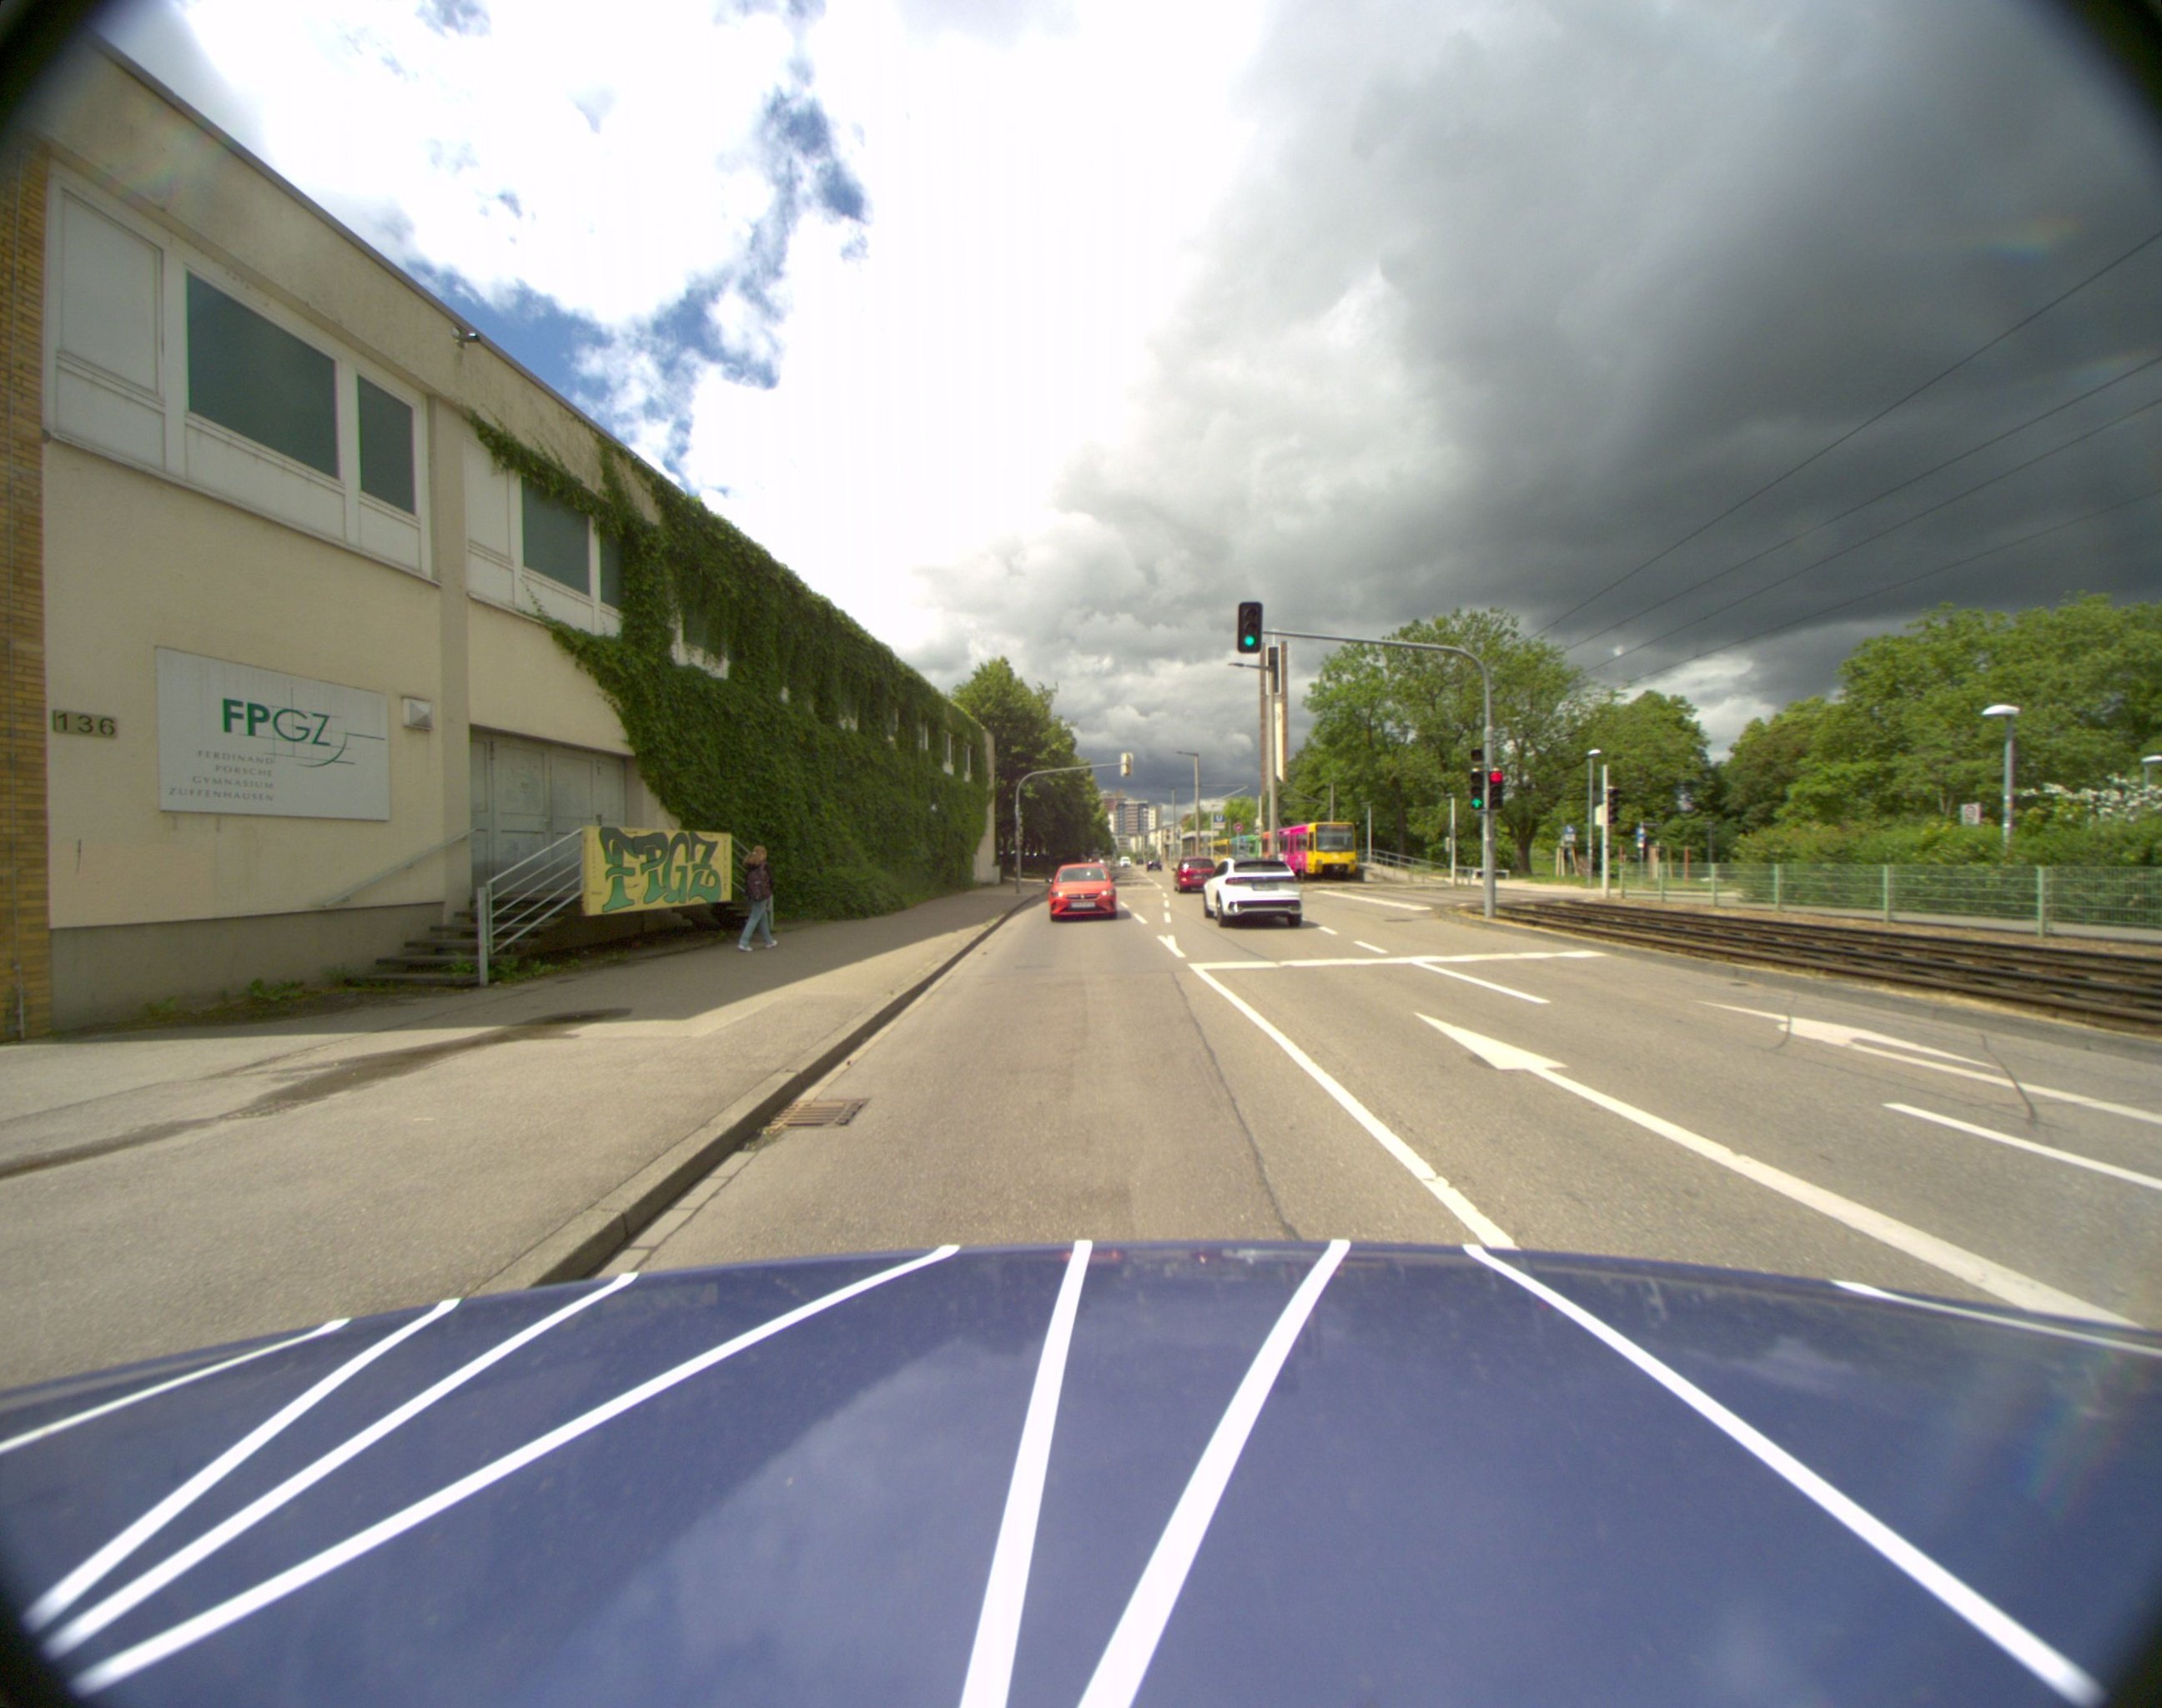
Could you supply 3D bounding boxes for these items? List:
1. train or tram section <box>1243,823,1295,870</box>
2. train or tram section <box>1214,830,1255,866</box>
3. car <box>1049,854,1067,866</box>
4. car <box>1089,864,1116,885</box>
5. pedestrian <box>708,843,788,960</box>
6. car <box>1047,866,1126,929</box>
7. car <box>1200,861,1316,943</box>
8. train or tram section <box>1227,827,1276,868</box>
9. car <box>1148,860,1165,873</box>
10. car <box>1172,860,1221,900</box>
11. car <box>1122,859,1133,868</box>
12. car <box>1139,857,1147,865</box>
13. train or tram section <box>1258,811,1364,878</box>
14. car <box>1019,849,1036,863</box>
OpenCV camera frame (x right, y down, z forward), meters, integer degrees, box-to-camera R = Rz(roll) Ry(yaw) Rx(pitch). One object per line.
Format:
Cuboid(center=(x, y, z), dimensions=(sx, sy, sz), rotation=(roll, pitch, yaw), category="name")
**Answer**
Cuboid(center=(16.677, -0.673, 67.958), dimensions=(2.987, 3.840, 8.380), rotation=(-2, 0, 4), category="train or tram section")
Cuboid(center=(18.046, -0.700, 89.970), dimensions=(2.987, 3.840, 12.203), rotation=(-2, 0, 4), category="train or tram section")
Cuboid(center=(-2.947, 0.762, 97.180), dimensions=(1.655, 1.533, 3.678), rotation=(-1, 1, 9), category="car")
Cuboid(center=(1.666, 1.532, 58.152), dimensions=(1.755, 1.433, 4.227), rotation=(-1, 0, 5), category="car")
Cuboid(center=(-5.229, 0.717, 11.974), dimensions=(0.810, 1.761, 0.817), rotation=(2, 1, 10), category="pedestrian")
Cuboid(center=(0.253, 1.104, 20.735), dimensions=(1.755, 1.433, 4.227), rotation=(-1, 0, 5), category="car")
Cuboid(center=(3.887, 0.992, 17.343), dimensions=(1.764, 1.543, 4.000), rotation=(-2, 0, 1), category="car")
Cuboid(center=(17.337, -0.637, 78.017), dimensions=(2.987, 3.840, 11.788), rotation=(-2, 0, 4), category="train or tram section")
Cuboid(center=(8.558, 1.404, 86.158), dimensions=(1.721, 1.433, 4.009), rotation=(-1, 0, 3), category="car")
Cuboid(center=(5.038, 1.102, 33.636), dimensions=(1.667, 1.543, 4.000), rotation=(-2, 0, 3), category="car")
Cuboid(center=(8.091, 1.576, 132.479), dimensions=(1.821, 1.433, 4.009), rotation=(-1, 0, 2), category="car")
Cuboid(center=(13.586, 1.528, 166.463), dimensions=(1.755, 1.603, 4.227), rotation=(-1, 0, 5), category="car")
Cuboid(center=(15.844, -0.601, 54.496), dimensions=(2.987, 3.840, 18.541), rotation=(-2, 0, 4), category="train or tram section")
Cuboid(center=(-6.364, 0.206, 90.667), dimensions=(1.756, 1.533, 4.225), rotation=(-1, 0, -1), category="car")
